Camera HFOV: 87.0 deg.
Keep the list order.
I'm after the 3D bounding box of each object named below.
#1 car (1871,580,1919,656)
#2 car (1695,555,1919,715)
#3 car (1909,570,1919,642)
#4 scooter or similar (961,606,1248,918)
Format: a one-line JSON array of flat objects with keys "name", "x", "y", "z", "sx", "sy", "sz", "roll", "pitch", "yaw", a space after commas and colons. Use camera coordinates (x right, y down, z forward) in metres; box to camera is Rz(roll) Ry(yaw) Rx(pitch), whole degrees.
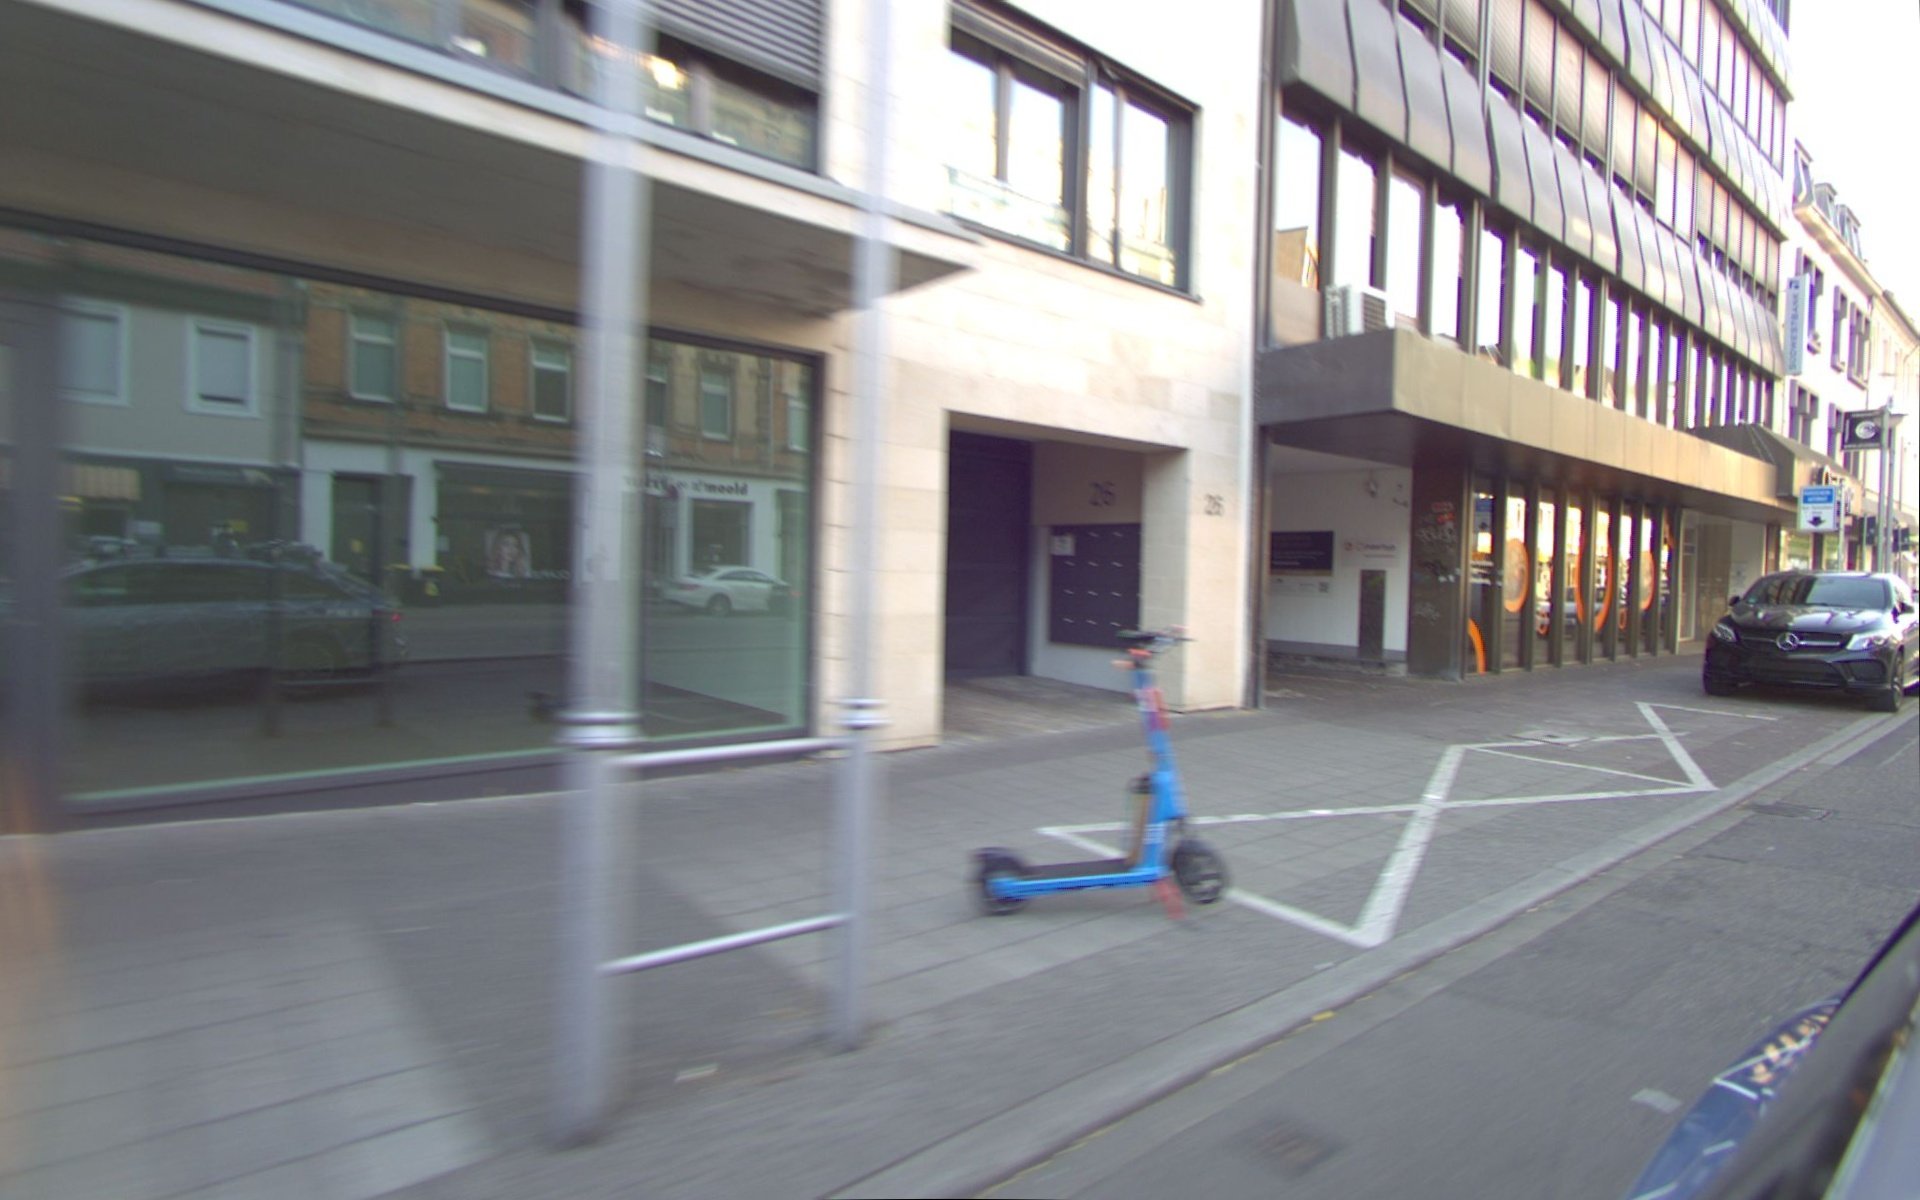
[{"name": "car", "x": 21.117, "y": 0.378, "z": 21.711, "sx": 3.804, "sy": 1.503, "sz": 1.770, "roll": -1, "pitch": 4, "yaw": -41}, {"name": "car", "x": 12.019, "y": 0.357, "z": 13.854, "sx": 4.587, "sy": 1.755, "sz": 1.990, "roll": 0, "pitch": 4, "yaw": -39}, {"name": "car", "x": 25.570, "y": 0.191, "z": 25.394, "sx": 4.482, "sy": 1.737, "sz": 1.920, "roll": 0, "pitch": 4, "yaw": -40}, {"name": "scooter or similar", "x": 0.592, "y": 0.676, "z": 4.298, "sx": 1.093, "sy": 1.238, "sz": 0.356, "roll": 2, "pitch": 3, "yaw": -7}]
